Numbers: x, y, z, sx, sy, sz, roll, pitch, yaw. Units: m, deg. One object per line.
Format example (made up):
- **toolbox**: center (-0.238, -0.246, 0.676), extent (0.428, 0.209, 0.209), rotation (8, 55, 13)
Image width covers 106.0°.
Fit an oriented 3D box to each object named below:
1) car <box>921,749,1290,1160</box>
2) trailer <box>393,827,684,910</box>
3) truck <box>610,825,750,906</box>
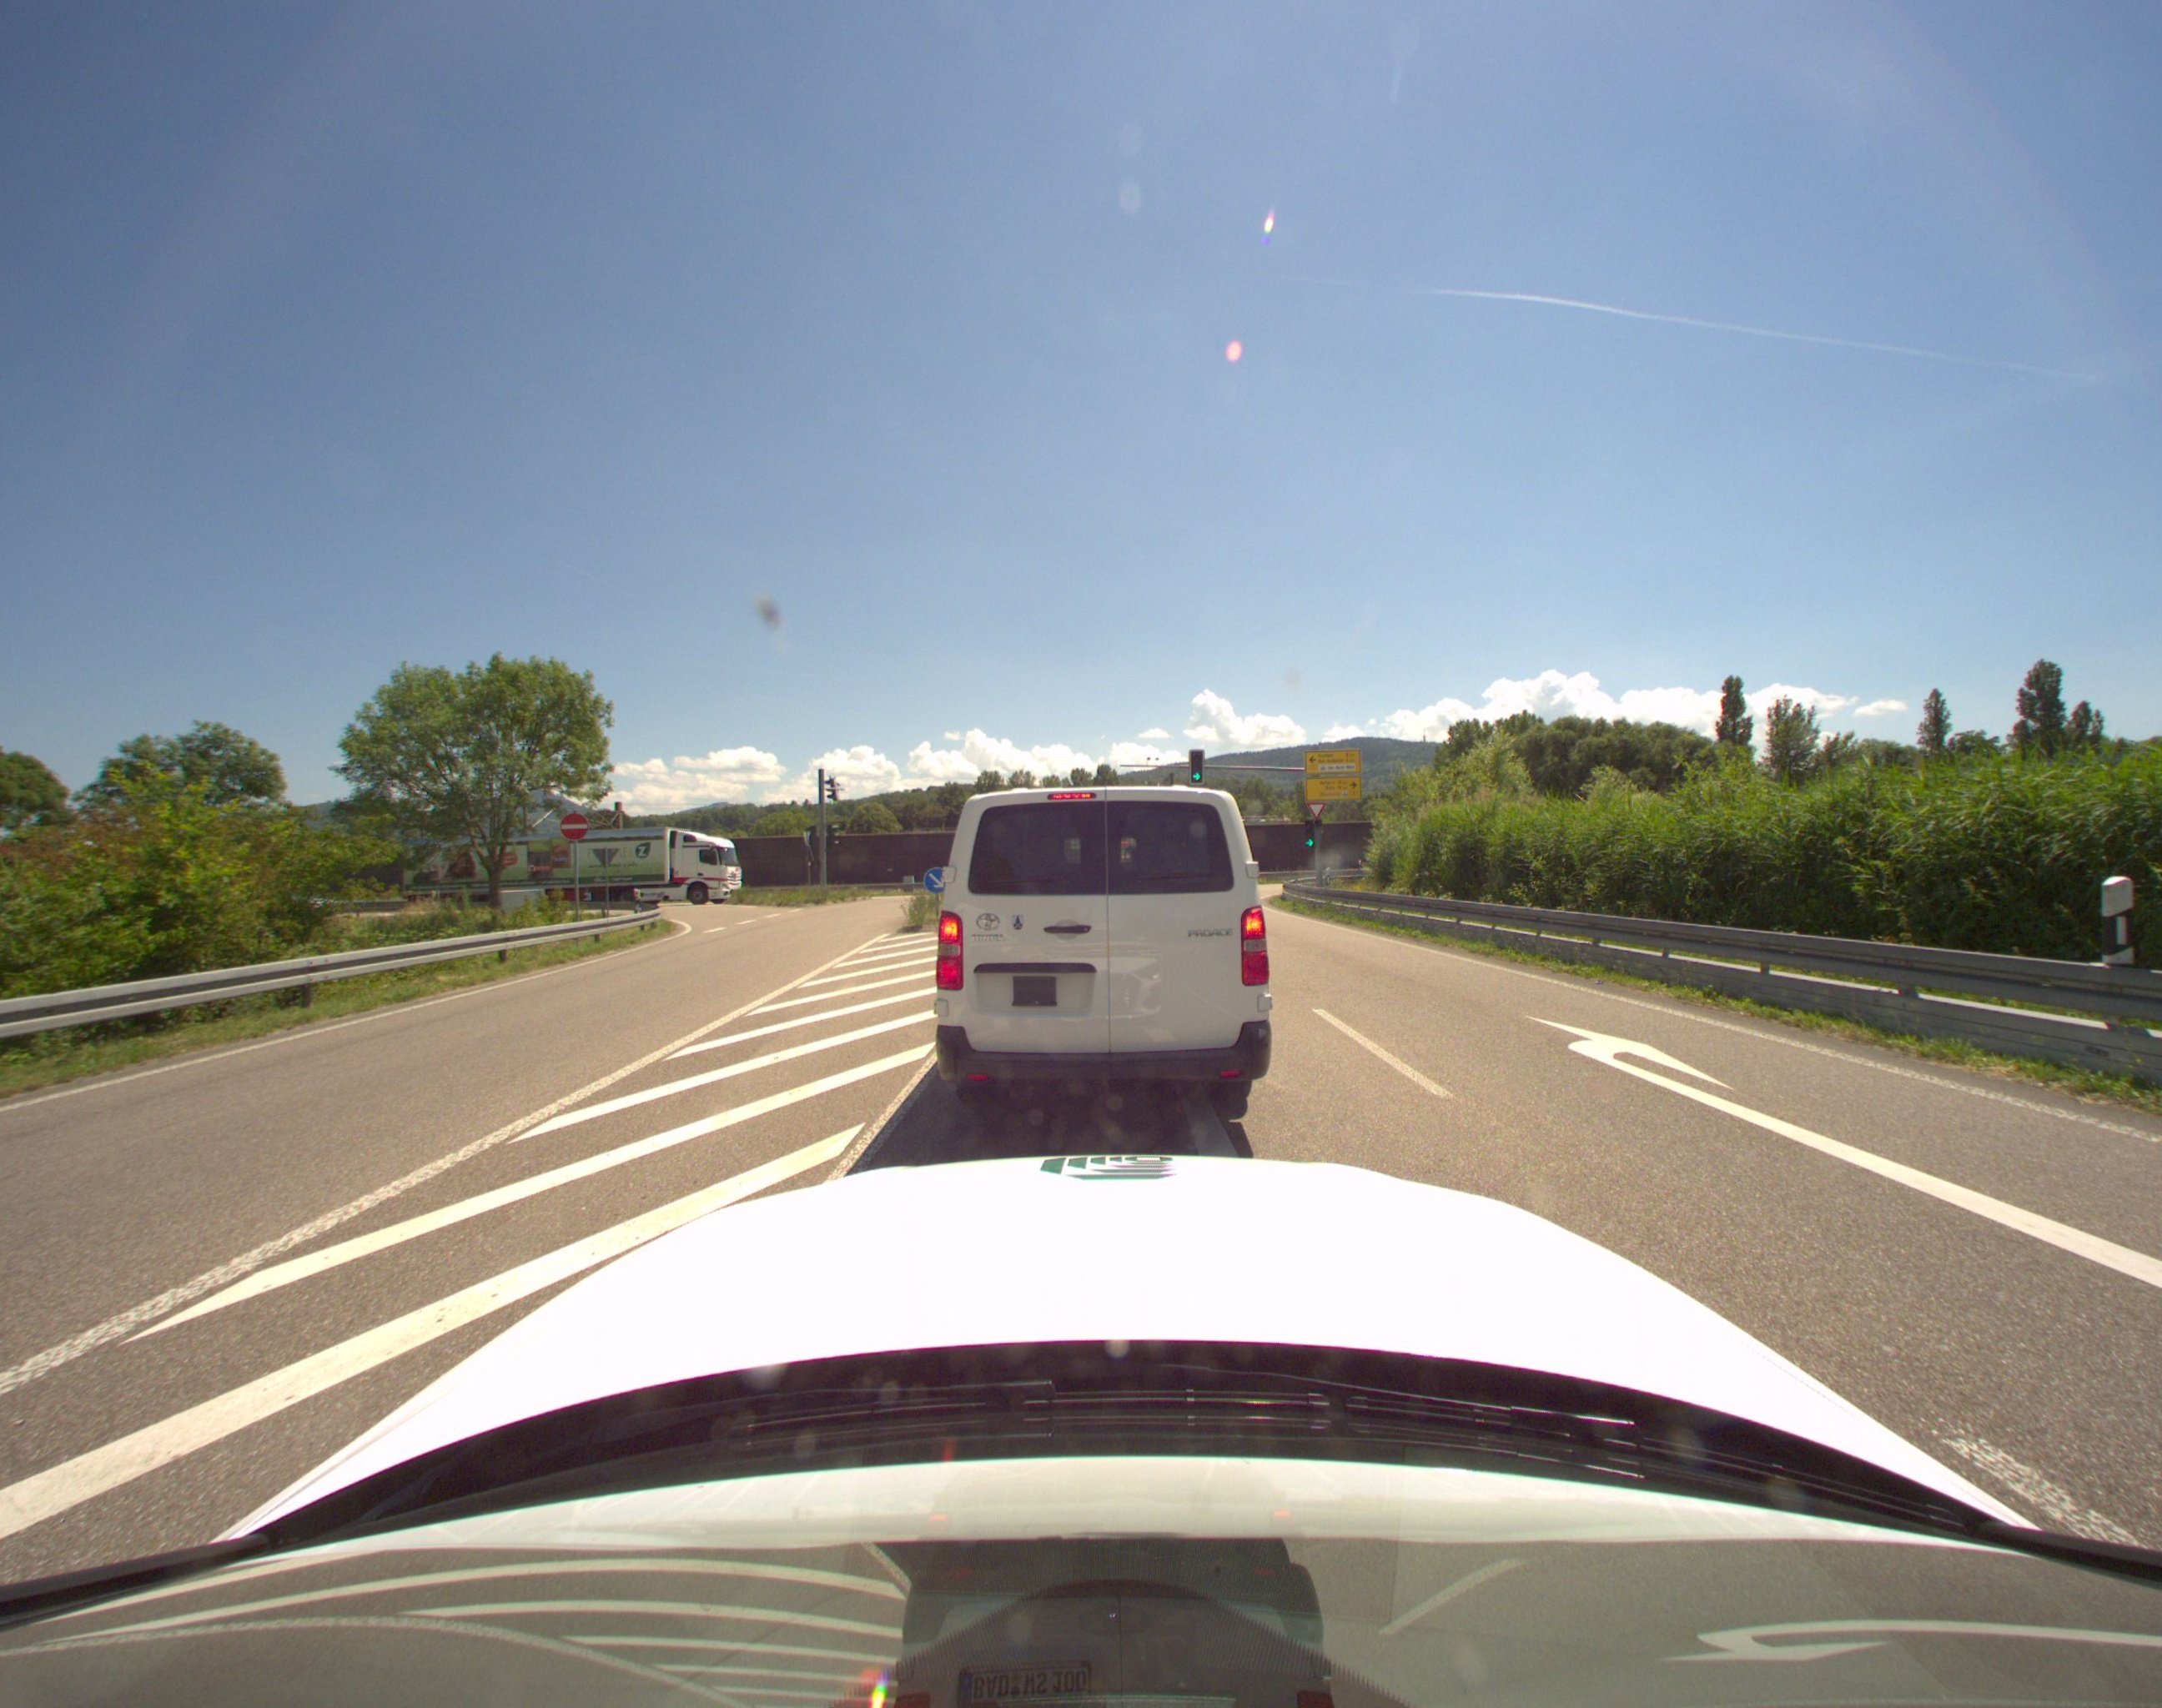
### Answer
- **car**: center (0.178, 0.519, 6.069), extent (1.808, 2.017, 4.001), rotation (-1, -1, 2)
- **trailer**: center (-28.223, 0.733, 42.746), extent (13.098, 3.954, 3.061), rotation (-1, -1, 0)
- **truck**: center (-20.965, 0.597, 42.802), extent (5.746, 3.954, 3.062), rotation (-1, -1, 0)
